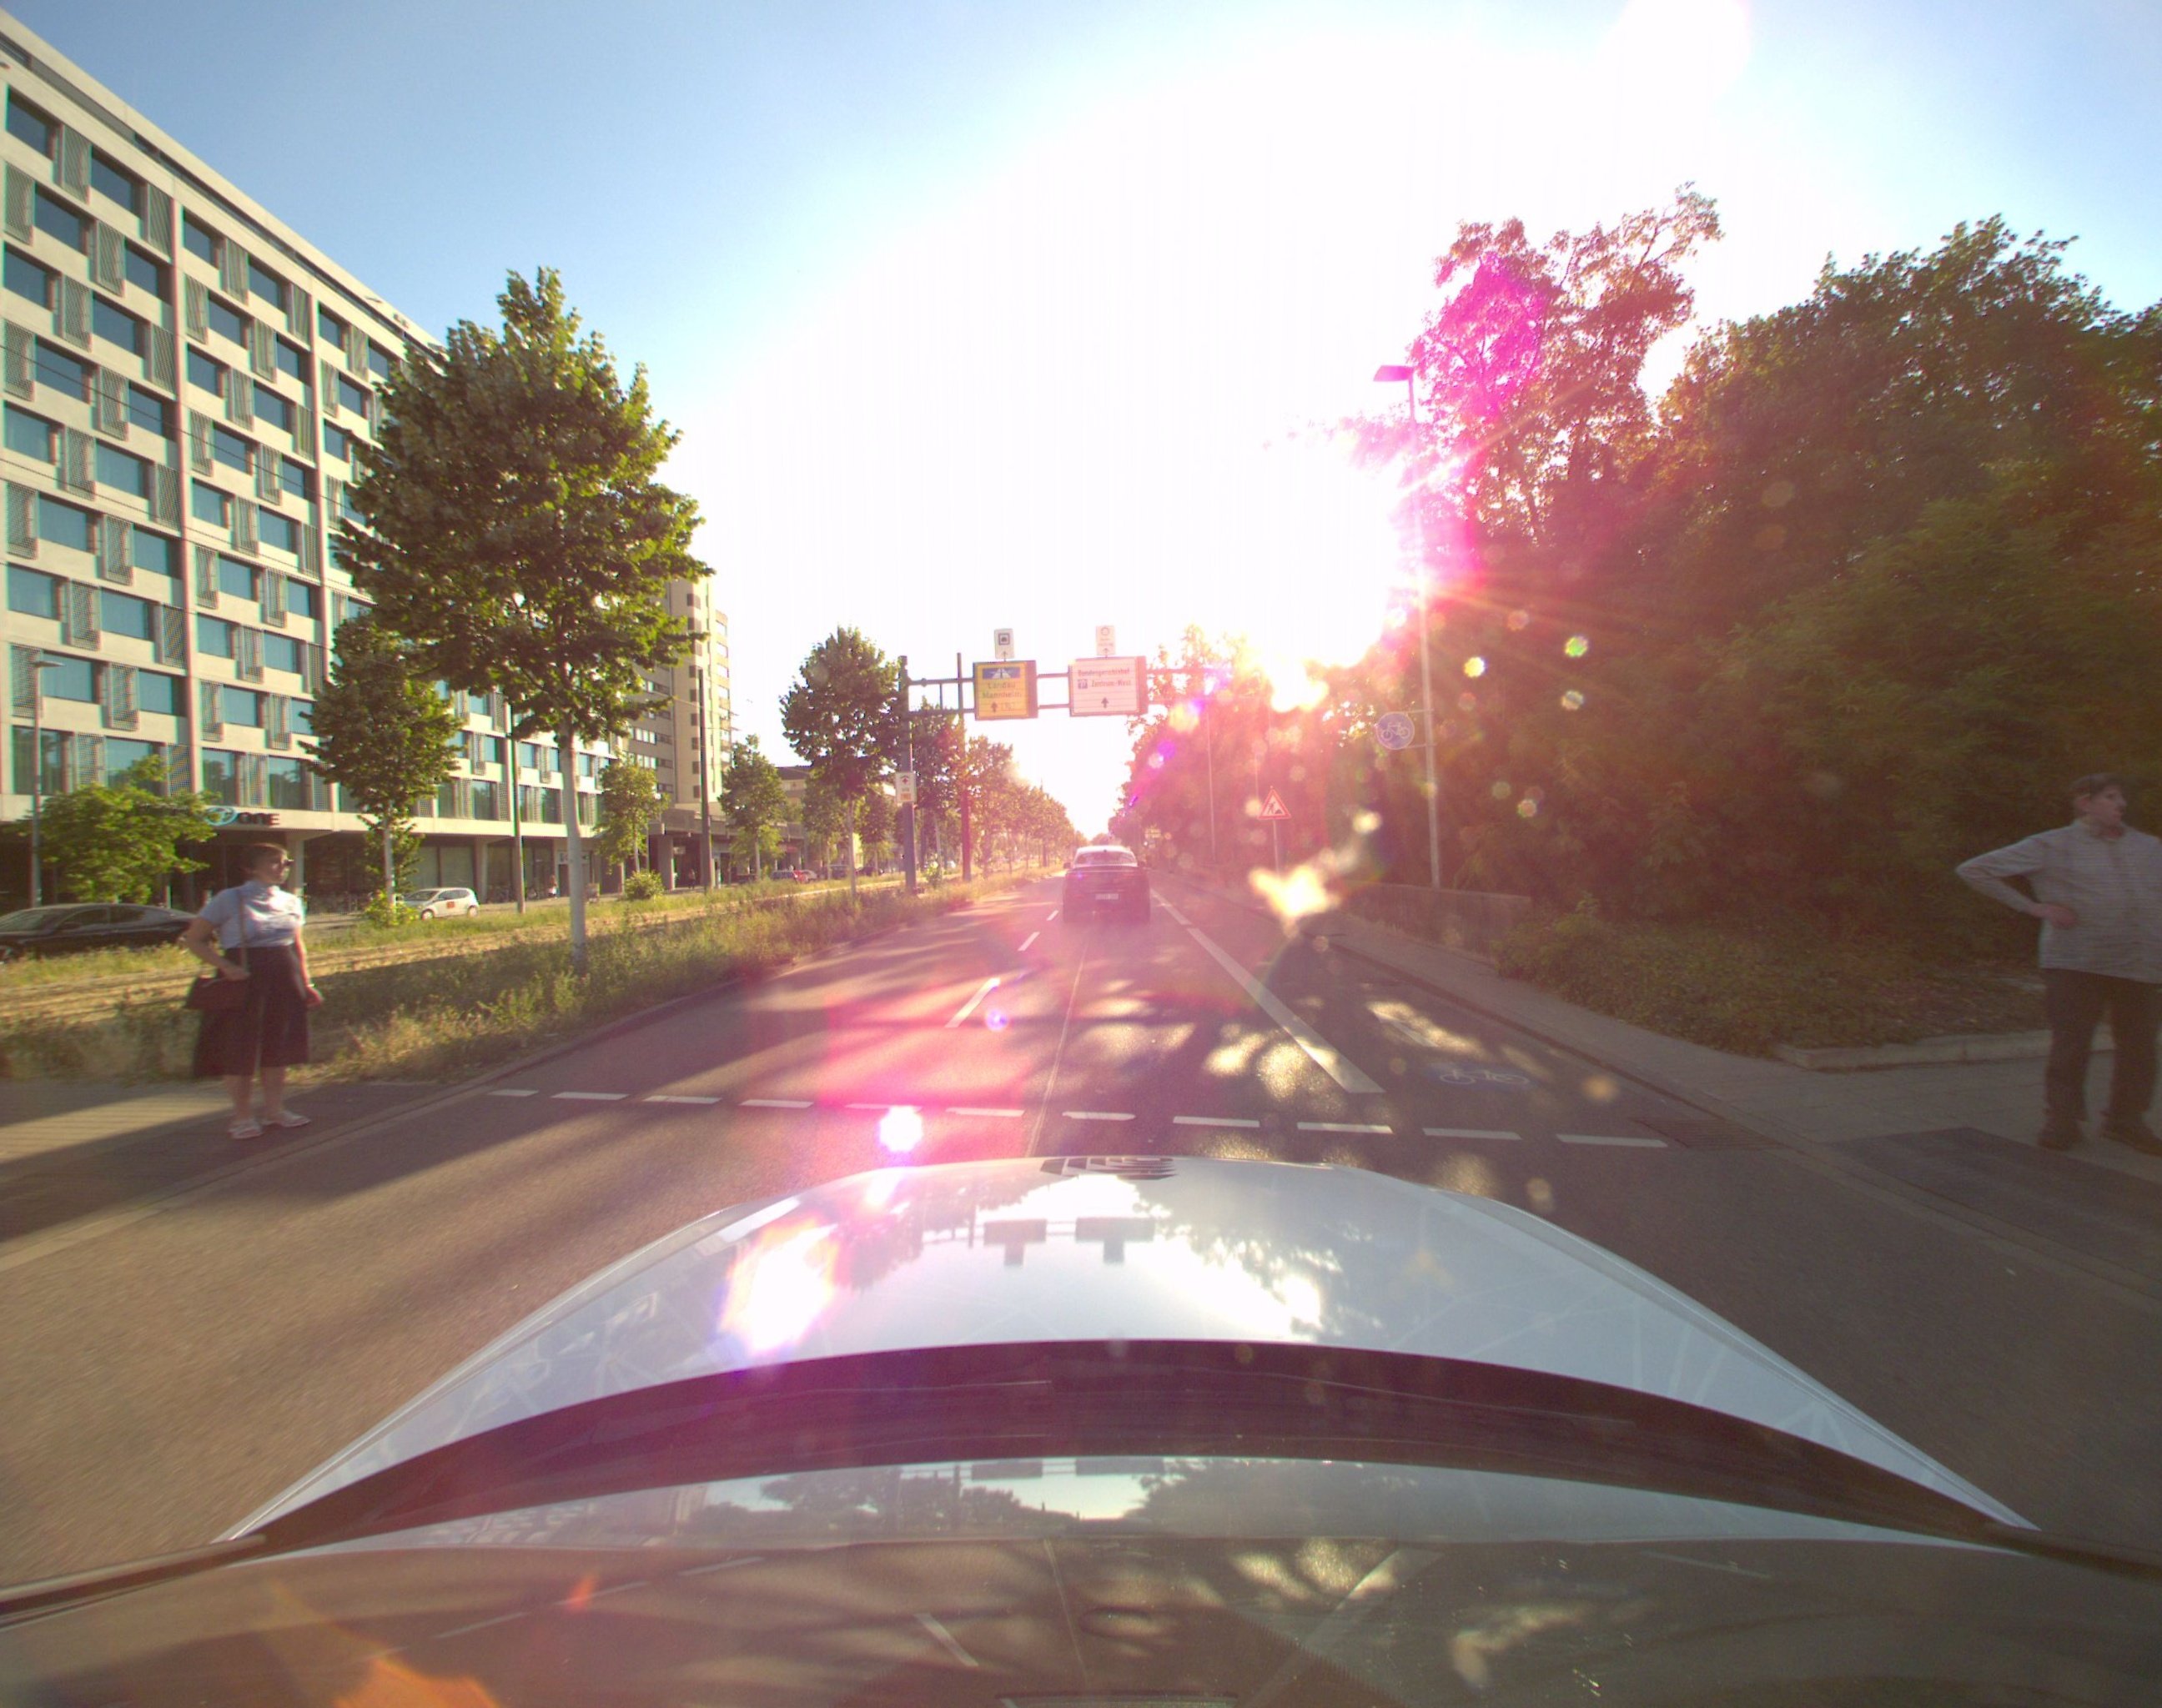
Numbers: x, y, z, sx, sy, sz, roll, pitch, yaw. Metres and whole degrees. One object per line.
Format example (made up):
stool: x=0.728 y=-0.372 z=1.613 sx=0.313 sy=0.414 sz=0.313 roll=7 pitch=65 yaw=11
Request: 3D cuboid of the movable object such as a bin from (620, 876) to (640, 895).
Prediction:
movable object such as a bin: x=-36.742 y=2.546 z=66.365 sx=0.797 sy=1.440 sz=1.403 roll=-3 pitch=0 yaw=2

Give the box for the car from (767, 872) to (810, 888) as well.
car: x=-28.664 y=2.521 z=79.870 sx=3.644 sy=1.523 sz=1.602 roll=0 pitch=-1 yaw=-39

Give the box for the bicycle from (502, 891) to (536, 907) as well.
bicycle: x=-36.229 y=2.916 z=52.540 sx=1.799 sy=0.905 sz=0.511 roll=-2 pitch=-1 yaw=-2

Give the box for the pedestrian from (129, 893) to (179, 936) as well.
pedestrian: x=-38.364 y=2.495 z=33.714 sx=0.968 sy=1.670 sz=1.064 roll=-3 pitch=0 yaw=20

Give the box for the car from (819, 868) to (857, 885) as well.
car: x=-27.782 y=2.531 z=93.221 sx=3.777 sy=1.829 sz=1.804 roll=-1 pitch=0 yaw=-38

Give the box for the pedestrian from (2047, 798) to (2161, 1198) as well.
pedestrian: x=4.788 y=0.573 z=3.296 sx=0.766 sy=1.636 sz=0.768 roll=-4 pitch=0 yaw=-8

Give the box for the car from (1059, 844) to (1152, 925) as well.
car: x=0.613 y=0.672 z=19.780 sx=1.986 sy=1.734 sz=4.002 roll=-1 pitch=0 yaw=2

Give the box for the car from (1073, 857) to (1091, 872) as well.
car: x=0.132 y=1.220 z=93.401 sx=1.879 sy=1.580 sz=4.001 roll=-1 pitch=0 yaw=1

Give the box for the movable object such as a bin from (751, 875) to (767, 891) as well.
movable object such as a bin: x=-28.048 y=2.532 z=71.042 sx=0.851 sy=1.280 sz=0.944 roll=-3 pitch=-1 yaw=16

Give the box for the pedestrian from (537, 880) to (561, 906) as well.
pedestrian: x=-34.707 y=2.530 z=53.181 sx=0.840 sy=1.653 sz=0.971 roll=-2 pitch=0 yaw=3

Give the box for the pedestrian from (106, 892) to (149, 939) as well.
pedestrian: x=-39.678 y=2.541 z=33.888 sx=0.959 sy=1.870 sz=0.985 roll=-3 pitch=-1 yaw=33

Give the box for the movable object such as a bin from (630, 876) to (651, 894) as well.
movable object such as a bin: x=-35.873 y=2.528 z=66.346 sx=0.797 sy=1.440 sz=1.403 roll=-3 pitch=0 yaw=2

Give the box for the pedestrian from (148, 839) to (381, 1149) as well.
pedestrian: x=-4.824 y=0.778 z=4.855 sx=0.595 sy=1.699 sz=0.715 roll=-3 pitch=0 yaw=7

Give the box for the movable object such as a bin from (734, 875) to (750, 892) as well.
movable object such as a bin: x=-29.441 y=2.559 z=70.750 sx=0.851 sy=1.357 sz=0.944 roll=-3 pitch=-1 yaw=16

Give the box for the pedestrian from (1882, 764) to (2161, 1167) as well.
pedestrian: x=4.950 y=0.493 z=4.204 sx=0.863 sy=1.802 sz=0.898 roll=-4 pitch=0 yaw=-33

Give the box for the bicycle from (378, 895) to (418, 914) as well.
bicycle: x=-36.959 y=2.742 z=44.049 sx=1.745 sy=0.966 sz=0.483 roll=-1 pitch=0 yaw=1

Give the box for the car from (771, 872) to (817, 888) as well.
car: x=-29.013 y=2.606 z=82.448 sx=1.764 sy=1.453 sz=4.024 roll=-1 pitch=0 yaw=44

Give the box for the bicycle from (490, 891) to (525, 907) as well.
bicycle: x=-36.385 y=2.829 z=51.679 sx=1.799 sy=0.905 sz=0.511 roll=-2 pitch=-1 yaw=-2

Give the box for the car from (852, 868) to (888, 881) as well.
car: x=-26.708 y=2.619 z=103.217 sx=4.021 sy=1.563 sz=1.976 roll=-1 pitch=0 yaw=-40

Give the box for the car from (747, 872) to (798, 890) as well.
car: x=-28.827 y=2.487 z=76.182 sx=4.116 sy=1.601 sz=1.730 roll=0 pitch=0 yaw=-39

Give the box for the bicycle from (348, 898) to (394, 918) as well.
bicycle: x=-36.701 y=2.778 z=42.100 sx=1.801 sy=0.905 sz=0.511 roll=-2 pitch=-1 yaw=-5

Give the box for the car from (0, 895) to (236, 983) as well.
car: x=-19.819 y=1.619 z=15.704 sx=1.884 sy=1.343 sz=4.852 roll=-2 pitch=0 yaw=1

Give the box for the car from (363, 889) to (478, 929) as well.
car: x=-29.617 y=2.450 z=36.683 sx=1.877 sy=1.492 sz=3.876 roll=-1 pitch=0 yaw=3

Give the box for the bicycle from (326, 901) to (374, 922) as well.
bicycle: x=-36.993 y=2.907 z=41.222 sx=1.801 sy=0.905 sz=0.511 roll=-2 pitch=-1 yaw=-5
